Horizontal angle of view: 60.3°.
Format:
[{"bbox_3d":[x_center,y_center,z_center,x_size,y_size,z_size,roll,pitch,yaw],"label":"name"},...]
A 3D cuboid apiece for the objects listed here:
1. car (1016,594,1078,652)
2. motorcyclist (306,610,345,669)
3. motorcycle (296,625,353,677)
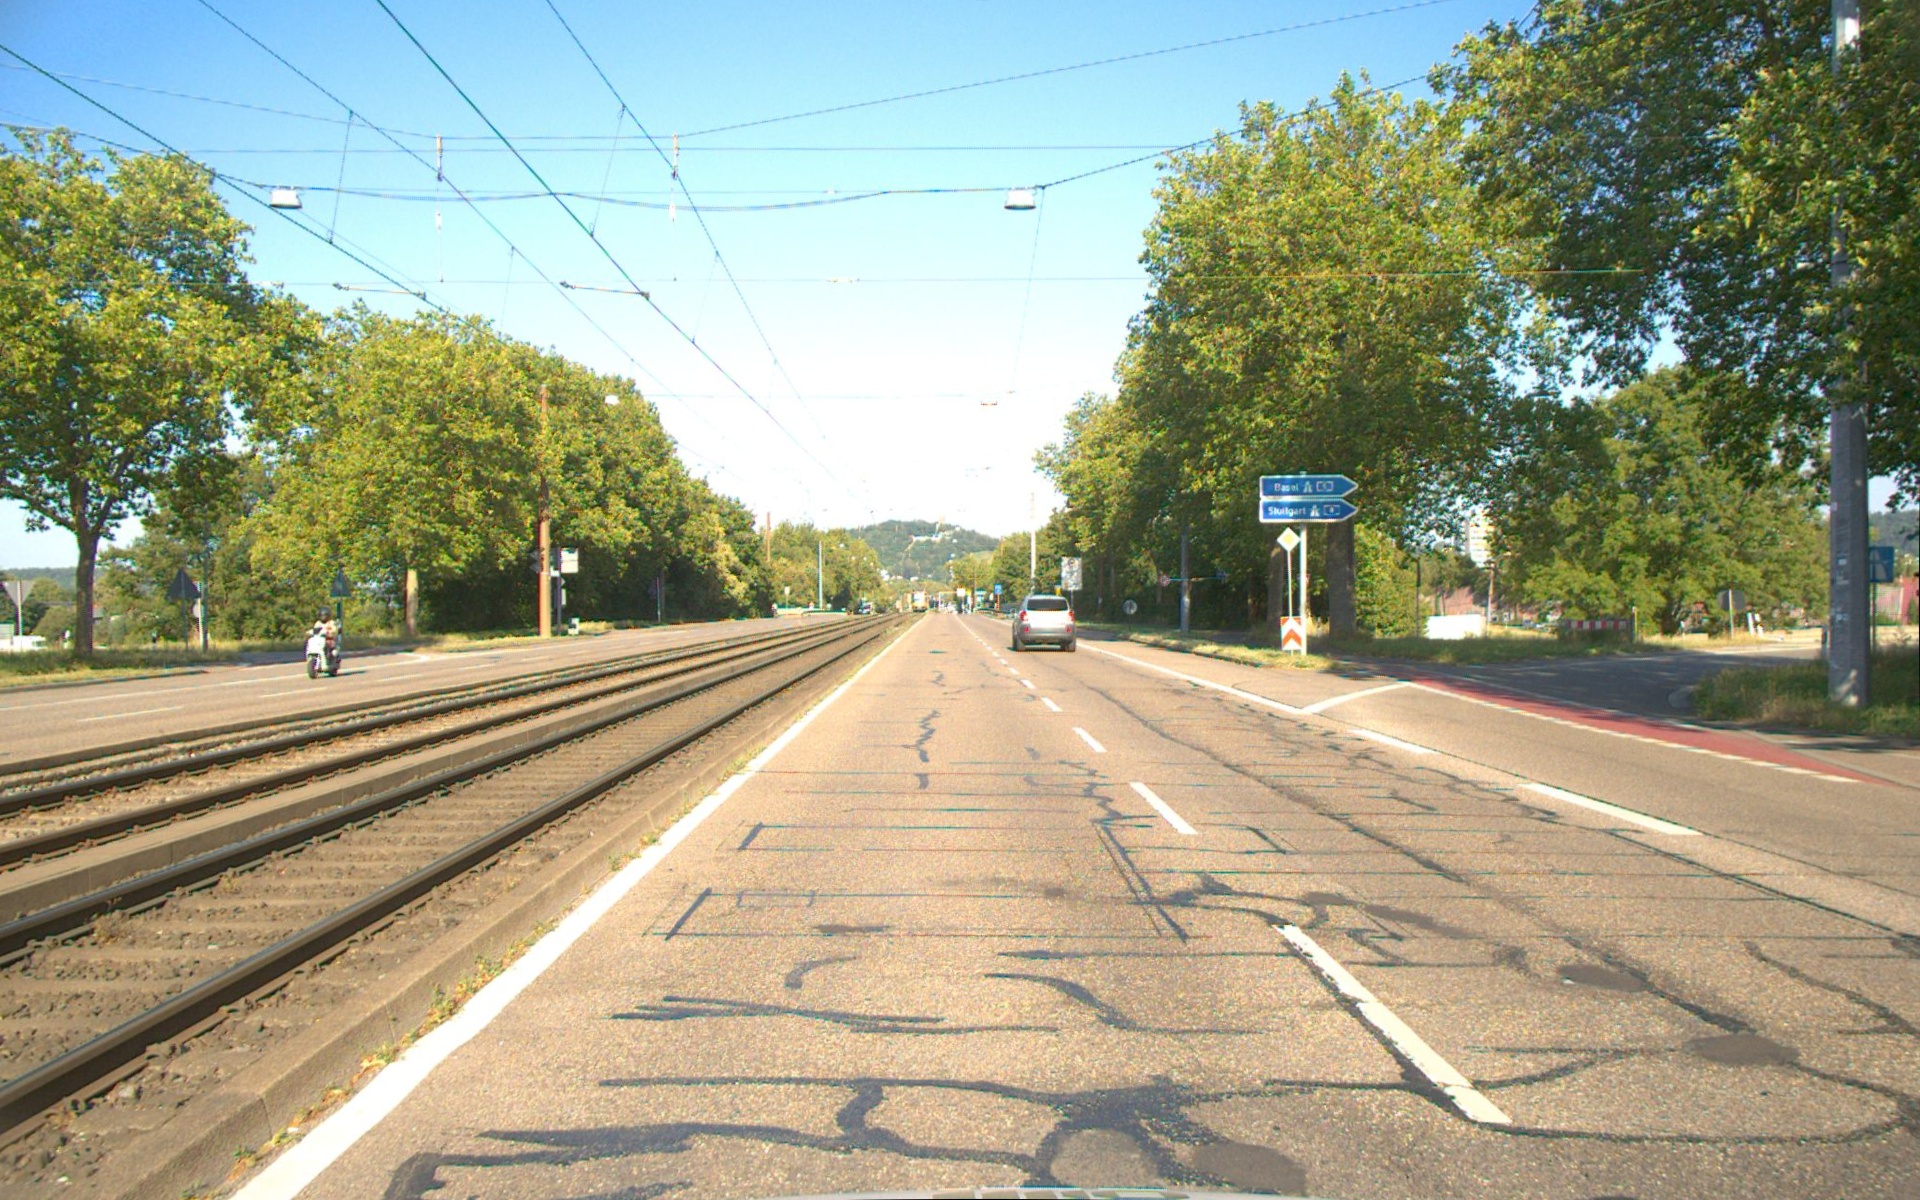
[{"bbox_3d":[2.669,0.703,51.545,1.849,1.723,4.257,0,-1,2],"label":"car"},{"bbox_3d":[-14.238,0.879,37.136,0.525,1.292,0.805,2,-1,-1],"label":"motorcyclist"},{"bbox_3d":[-14.243,1.131,37.116,0.525,1.110,1.901,2,-1,-1],"label":"motorcycle"}]
